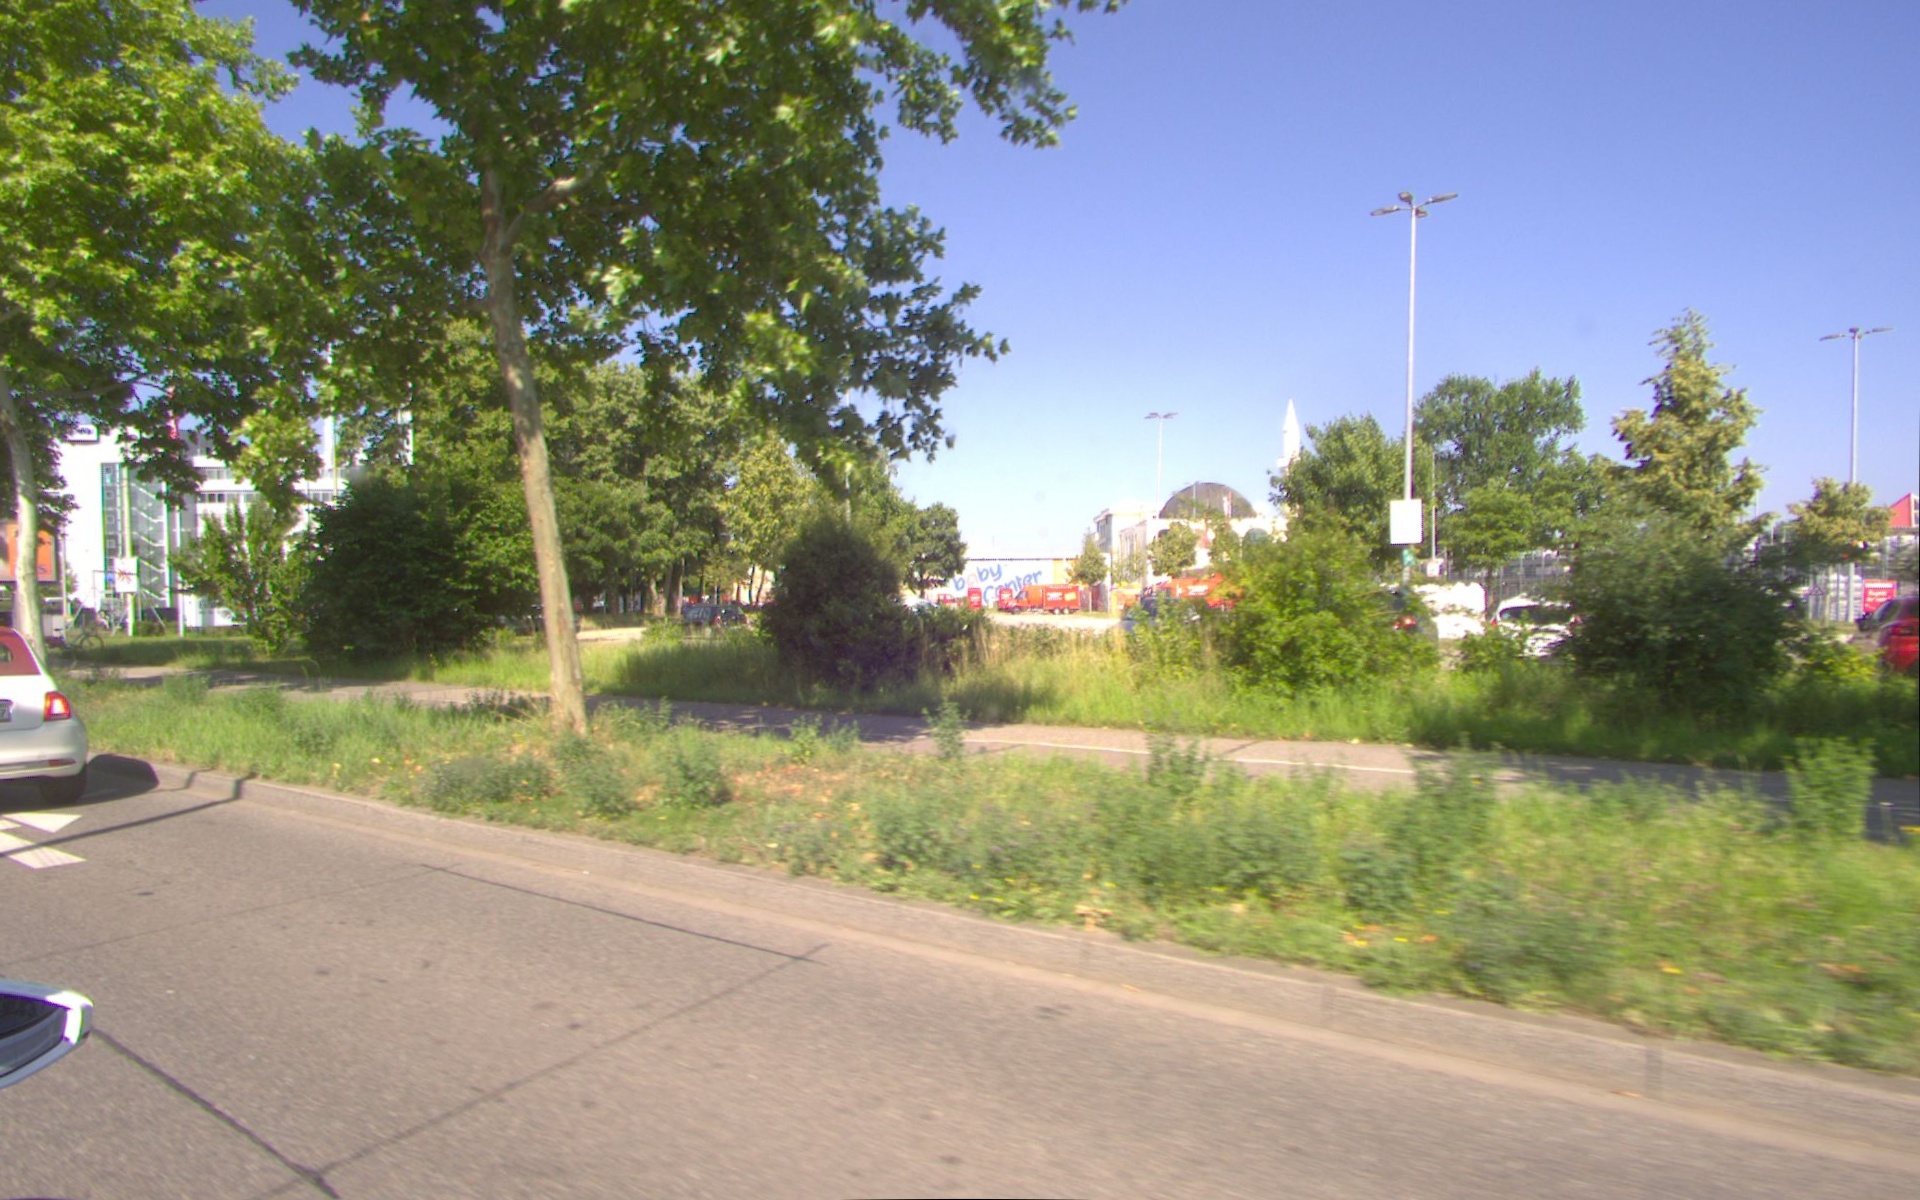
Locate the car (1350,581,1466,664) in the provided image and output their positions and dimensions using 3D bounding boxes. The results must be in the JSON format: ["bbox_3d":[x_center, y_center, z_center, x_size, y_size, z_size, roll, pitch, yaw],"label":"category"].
[{"bbox_3d":[9.020,0.450,19.981,1.805,1.477,3.984,-1,-1,29],"label":"car"}]

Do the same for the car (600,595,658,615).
[{"bbox_3d":[-26.046,0.402,78.866,3.922,1.505,1.722,0,-1,0],"label":"car"}]

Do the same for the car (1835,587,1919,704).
[{"bbox_3d":[15.392,0.686,15.850,1.663,1.692,3.815,-1,-1,31],"label":"car"}]

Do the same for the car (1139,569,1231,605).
[{"bbox_3d":[15.259,-0.861,68.129,5.822,2.371,2.115,0,-1,1],"label":"car"}]

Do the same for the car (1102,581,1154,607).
[{"bbox_3d":[13.625,-0.463,81.297,3.922,2.040,2.000,0,-1,1],"label":"car"}]

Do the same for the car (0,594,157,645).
[{"bbox_3d":[-30.794,0.684,35.031,1.701,1.683,3.973,-1,-1,37],"label":"car"}]

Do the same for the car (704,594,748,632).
[{"bbox_3d":[-9.772,0.556,41.980,1.743,1.535,3.722,0,-1,-12],"label":"car"}]

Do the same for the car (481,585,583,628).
[{"bbox_3d":[-17.735,0.294,41.631,3.681,1.738,1.766,0,-1,-15],"label":"car"}]

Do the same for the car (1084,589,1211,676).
[{"bbox_3d":[4.157,0.687,21.778,1.693,1.718,3.544,-1,-1,29],"label":"car"}]

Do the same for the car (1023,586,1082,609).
[{"bbox_3d":[7.746,-0.195,84.157,4.824,1.906,1.770,0,-1,1],"label":"car"}]

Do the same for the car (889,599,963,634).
[{"bbox_3d":[-1.577,0.773,46.293,3.387,1.591,1.745,0,-1,-2],"label":"car"}]

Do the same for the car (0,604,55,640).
[{"bbox_3d":[-45.156,1.041,46.863,1.701,1.683,3.973,-1,-1,37],"label":"car"}]

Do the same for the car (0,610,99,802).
[{"bbox_3d":[-8.871,0.828,8.391,3.471,1.455,1.658,-1,-1,34],"label":"car"}]

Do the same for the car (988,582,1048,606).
[{"bbox_3d":[5.156,-0.510,89.760,5.188,2.039,2.001,0,-2,-5],"label":"car"}]

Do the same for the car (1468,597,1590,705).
[{"bbox_3d":[10.589,0.901,18.861,1.725,1.795,3.987,-1,-1,26],"label":"car"}]

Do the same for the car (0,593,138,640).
[{"bbox_3d":[-33.594,0.620,37.601,1.701,1.683,3.973,-1,-1,37],"label":"car"}]

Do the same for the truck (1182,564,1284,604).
[{"bbox_3d":[22.878,-1.352,84.162,8.068,3.290,2.000,0,0,-3],"label":"truck"}]
